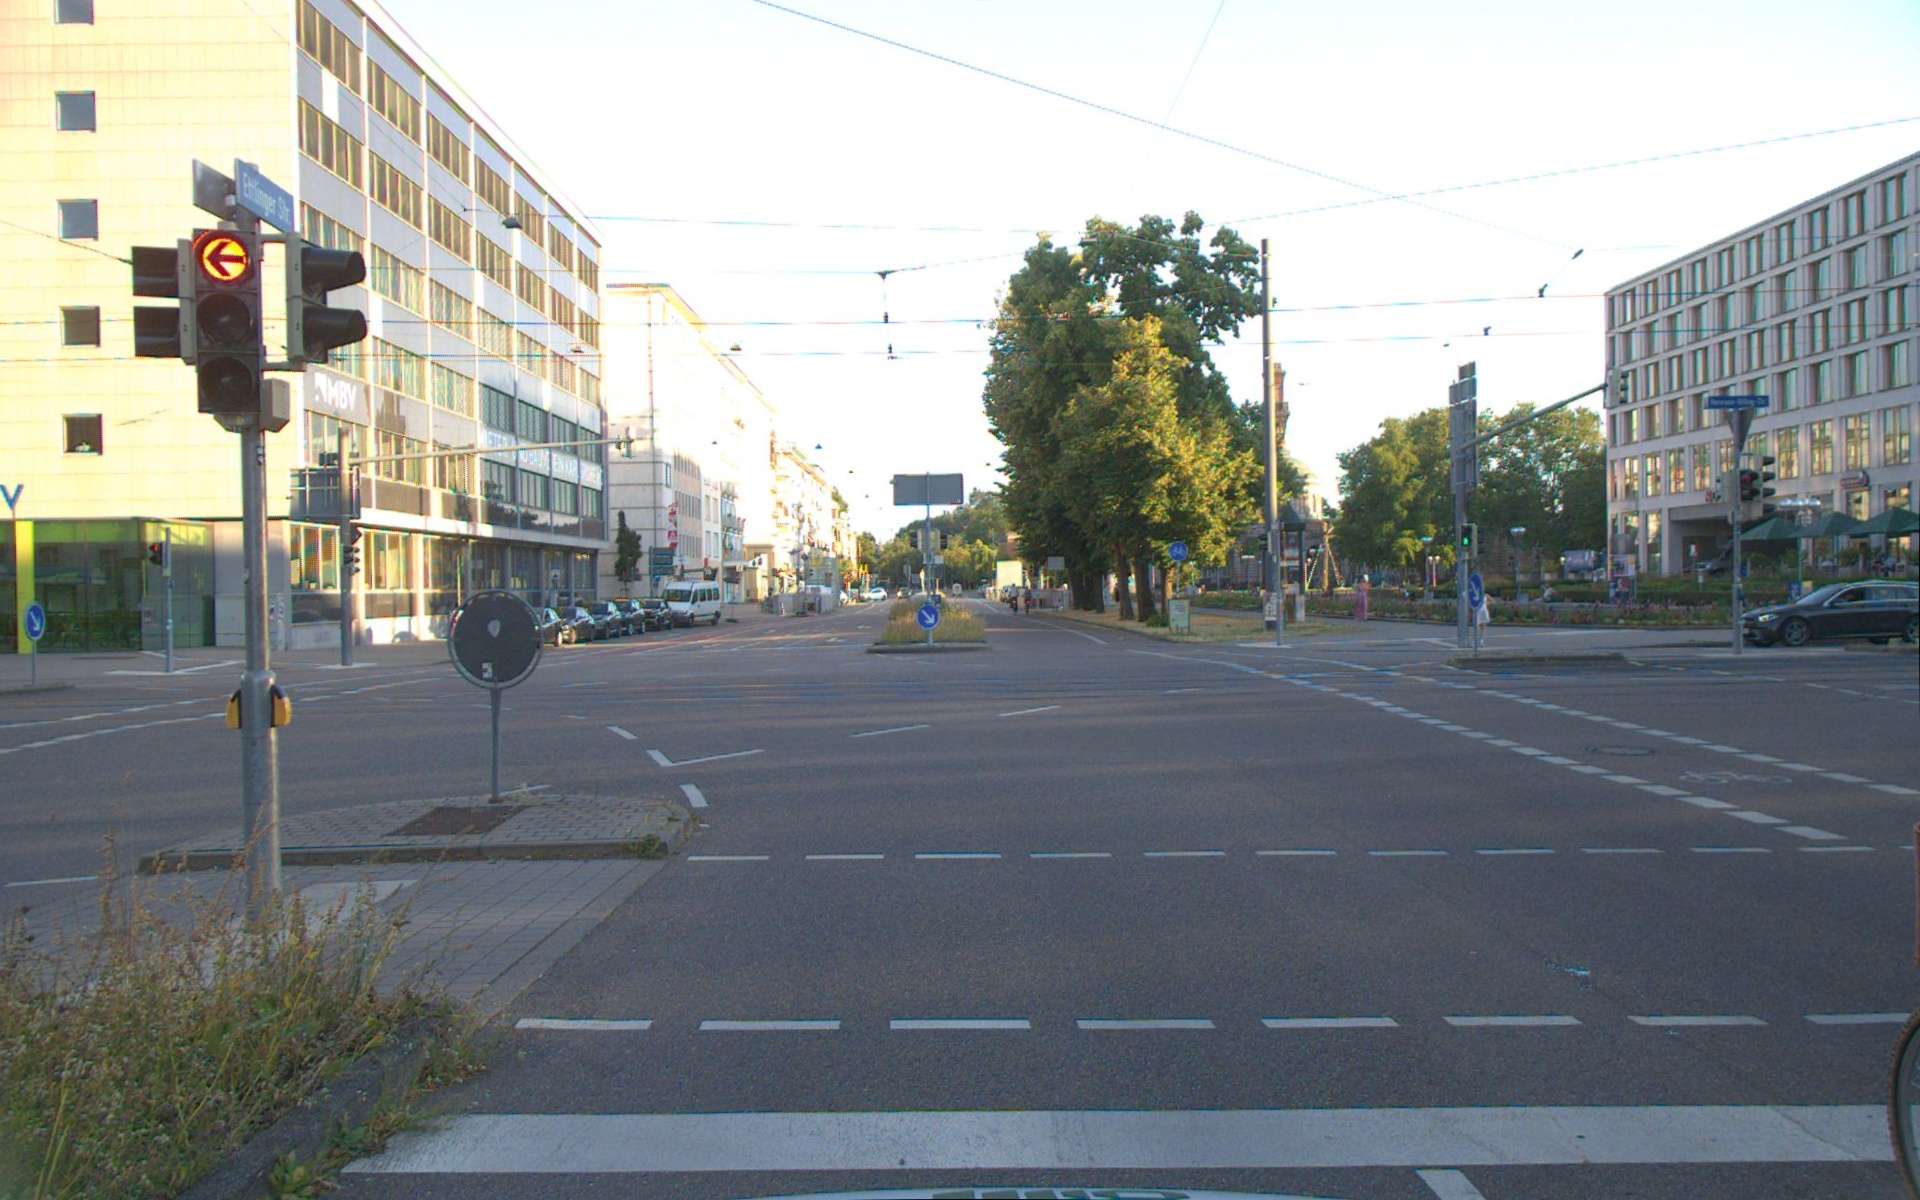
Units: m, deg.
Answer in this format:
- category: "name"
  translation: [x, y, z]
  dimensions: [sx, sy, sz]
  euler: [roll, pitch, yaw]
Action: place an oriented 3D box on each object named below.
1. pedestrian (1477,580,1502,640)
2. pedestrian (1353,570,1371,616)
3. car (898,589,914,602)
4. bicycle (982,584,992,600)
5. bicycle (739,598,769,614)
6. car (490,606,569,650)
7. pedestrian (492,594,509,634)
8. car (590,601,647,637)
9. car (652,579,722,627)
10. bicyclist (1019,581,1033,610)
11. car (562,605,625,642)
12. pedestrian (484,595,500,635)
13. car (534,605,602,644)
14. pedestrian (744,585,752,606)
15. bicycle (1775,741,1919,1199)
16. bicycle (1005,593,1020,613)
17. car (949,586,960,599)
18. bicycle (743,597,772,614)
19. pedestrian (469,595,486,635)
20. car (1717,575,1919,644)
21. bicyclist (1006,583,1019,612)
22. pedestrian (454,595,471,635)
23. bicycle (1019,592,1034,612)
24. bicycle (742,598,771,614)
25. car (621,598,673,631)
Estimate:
- category: "pedestrian"
  translation: [13.900, 0.268, 43.427]
  dimensions: [0.480, 1.566, 0.408]
  euler: [-1, 0, -1]
- category: "pedestrian"
  translation: [14.723, -0.254, 60.594]
  dimensions: [0.451, 1.685, 0.566]
  euler: [-1, 0, -1]
- category: "car"
  translation: [-7.060, -0.603, 215.639]
  dimensions: [1.825, 1.546, 4.000]
  euler: [-1, 0, 0]
- category: "bicycle"
  translation: [3.442, -0.988, 208.563]
  dimensions: [0.982, 2.049, 3.998]
  euler: [-1, 0, -2]
- category: "bicycle"
  translation: [-15.585, 0.463, 125.278]
  dimensions: [2.161, 1.131, 0.618]
  euler: [-1, 0, -3]
- category: "car"
  translation: [-16.006, 1.030, 61.672]
  dimensions: [1.882, 1.489, 4.102]
  euler: [-1, 0, -1]
- category: "pedestrian"
  translation: [-19.609, 0.594, 70.618]
  dimensions: [0.540, 1.708, 0.500]
  euler: [-1, 0, -1]
- category: "car"
  translation: [-16.131, 0.879, 78.285]
  dimensions: [1.882, 1.595, 3.999]
  euler: [-1, 0, -1]
- category: "car"
  translation: [-14.940, 0.142, 90.992]
  dimensions: [1.958, 2.521, 5.873]
  euler: [-1, 0, 9]
- category: "bicyclist"
  translation: [3.987, -0.268, 99.986]
  dimensions: [0.731, 1.720, 0.799]
  euler: [-1, 0, -1]
- category: "car"
  translation: [-16.135, 1.010, 72.981]
  dimensions: [1.882, 1.489, 3.999]
  euler: [-1, 0, -1]
- category: "pedestrian"
  translation: [-20.134, 0.629, 71.129]
  dimensions: [0.490, 1.708, 0.500]
  euler: [-1, 0, -1]
- category: "car"
  translation: [-16.115, 0.990, 68.167]
  dimensions: [1.882, 1.489, 3.999]
  euler: [-1, 0, -1]
- category: "pedestrian"
  translation: [-21.071, -0.482, 164.439]
  dimensions: [0.666, 2.049, 0.545]
  euler: [-1, 0, -1]
- category: "bicycle"
  translation: [2.192, 0.908, 2.811]
  dimensions: [0.599, 1.152, 2.004]
  euler: [1, 0, -1]
- category: "bicycle"
  translation: [3.178, 0.189, 100.179]
  dimensions: [0.731, 1.164, 2.505]
  euler: [-1, 0, -1]
- category: "car"
  translation: [-0.745, -1.061, 231.105]
  dimensions: [1.379, 1.670, 3.998]
  euler: [-1, 0, -2]
- category: "bicycle"
  translation: [-15.726, 0.419, 128.628]
  dimensions: [2.161, 1.258, 0.839]
  euler: [-1, 0, -2]
- category: "pedestrian"
  translation: [-20.731, 0.636, 71.063]
  dimensions: [0.540, 1.708, 0.500]
  euler: [-1, 0, -1]
- category: "car"
  translation: [21.100, 0.211, 39.928]
  dimensions: [4.724, 1.542, 2.000]
  euler: [-1, 0, 1]
- category: "bicyclist"
  translation: [3.171, -0.164, 99.867]
  dimensions: [0.731, 1.692, 0.873]
  euler: [-1, 0, -1]
- category: "pedestrian"
  translation: [-21.105, 0.639, 70.222]
  dimensions: [0.540, 1.708, 0.500]
  euler: [-1, 0, -1]
- category: "bicycle"
  translation: [3.999, 0.122, 99.981]
  dimensions: [0.731, 1.164, 2.505]
  euler: [-1, 0, -1]
- category: "bicycle"
  translation: [-15.575, 0.474, 126.718]
  dimensions: [2.161, 1.131, 0.689]
  euler: [-1, 0, -2]
- category: "car"
  translation: [-15.957, 0.730, 84.517]
  dimensions: [1.882, 1.595, 3.999]
  euler: [-1, 0, -1]
